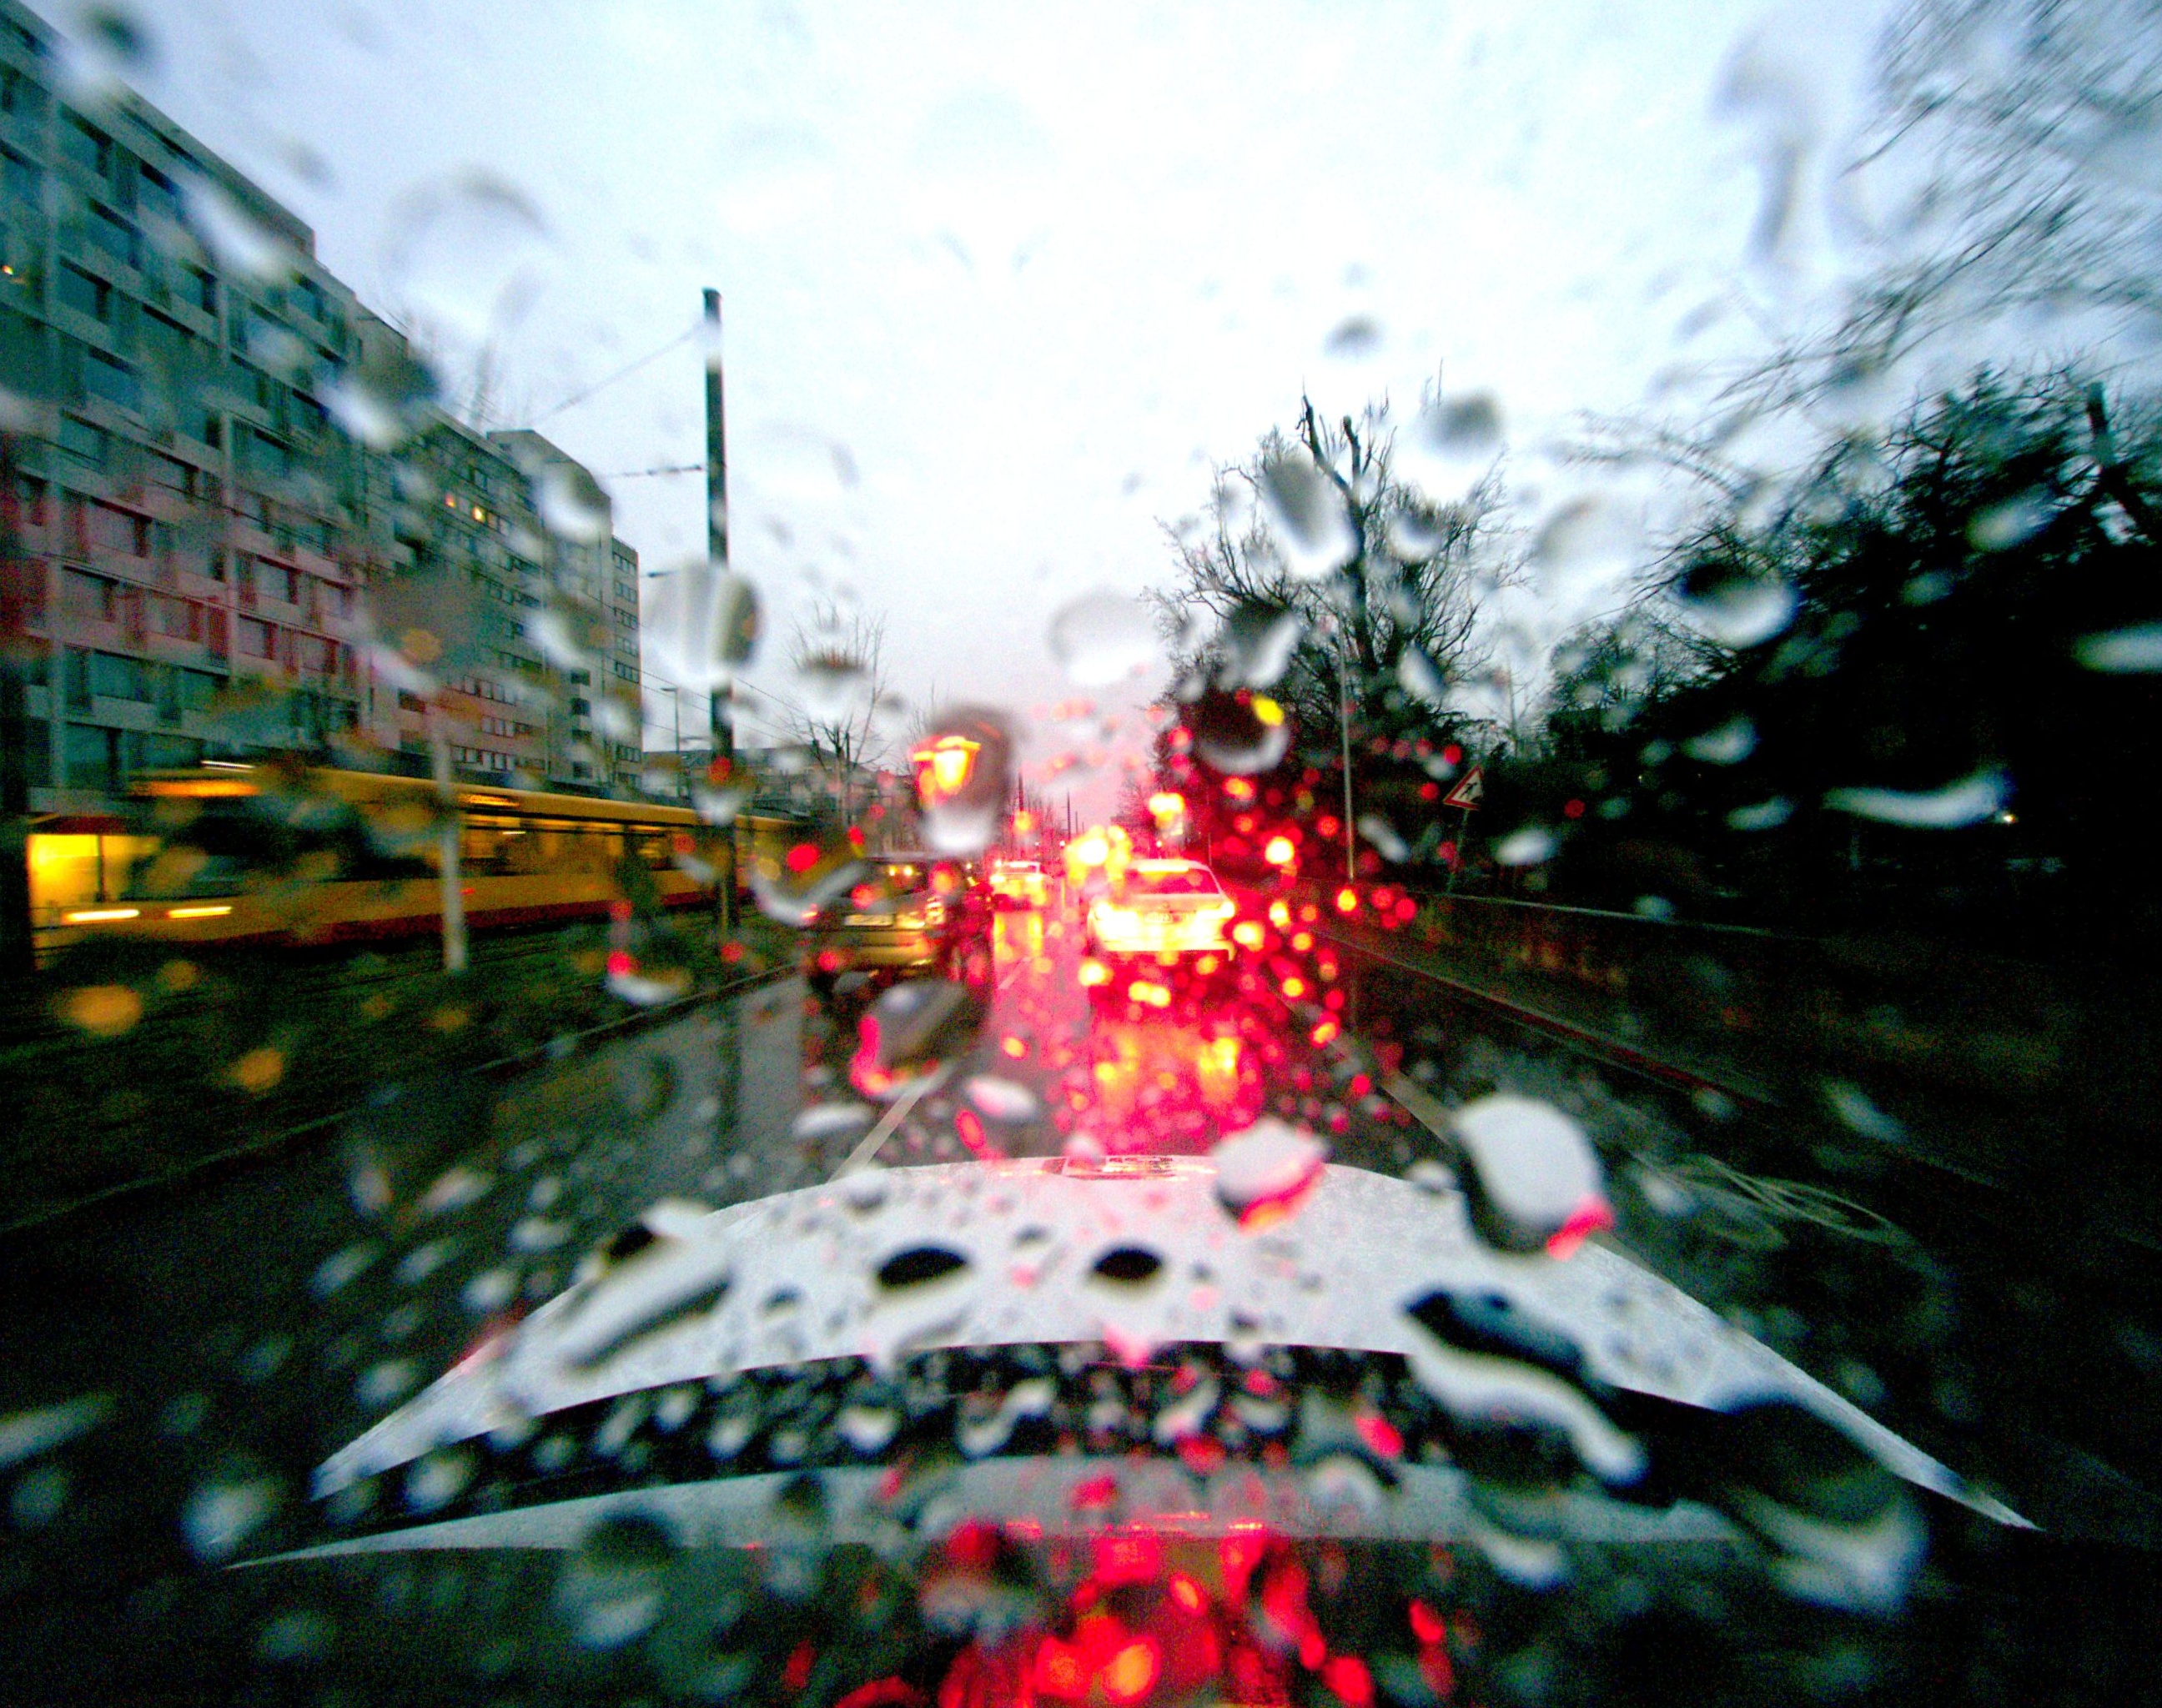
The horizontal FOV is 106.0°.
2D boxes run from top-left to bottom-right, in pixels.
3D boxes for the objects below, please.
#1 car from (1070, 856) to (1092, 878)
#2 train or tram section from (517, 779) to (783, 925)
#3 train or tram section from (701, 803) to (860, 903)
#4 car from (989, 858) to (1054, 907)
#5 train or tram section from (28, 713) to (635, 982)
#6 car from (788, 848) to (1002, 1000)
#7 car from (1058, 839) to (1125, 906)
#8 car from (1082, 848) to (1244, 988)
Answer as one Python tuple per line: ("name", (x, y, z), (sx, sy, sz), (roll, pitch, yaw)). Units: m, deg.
("car", (0.013, 1.218, 77.004), (1.986, 2.014, 4.001), (-1, 0, 2))
("train or tram section", (-12.374, -0.016, 24.772), (2.832, 3.504, 9.161), (-3, -1, 2))
("train or tram section", (-12.099, -0.007, 33.946), (2.832, 3.504, 9.161), (-3, -1, 2))
("car", (-1.899, 0.896, 27.243), (1.753, 1.470, 4.252), (-1, 0, 1))
("train or tram section", (-12.653, -0.064, 15.585), (2.832, 3.504, 9.161), (-3, -1, 2))
("car", (-2.180, 0.758, 10.654), (1.753, 1.594, 4.001), (-1, 0, 2))
("car", (0.385, 0.569, 26.427), (1.986, 2.014, 4.001), (-1, 0, 2))
("car", (0.923, 0.727, 11.288), (1.754, 1.552, 4.249), (-1, 0, -1))
